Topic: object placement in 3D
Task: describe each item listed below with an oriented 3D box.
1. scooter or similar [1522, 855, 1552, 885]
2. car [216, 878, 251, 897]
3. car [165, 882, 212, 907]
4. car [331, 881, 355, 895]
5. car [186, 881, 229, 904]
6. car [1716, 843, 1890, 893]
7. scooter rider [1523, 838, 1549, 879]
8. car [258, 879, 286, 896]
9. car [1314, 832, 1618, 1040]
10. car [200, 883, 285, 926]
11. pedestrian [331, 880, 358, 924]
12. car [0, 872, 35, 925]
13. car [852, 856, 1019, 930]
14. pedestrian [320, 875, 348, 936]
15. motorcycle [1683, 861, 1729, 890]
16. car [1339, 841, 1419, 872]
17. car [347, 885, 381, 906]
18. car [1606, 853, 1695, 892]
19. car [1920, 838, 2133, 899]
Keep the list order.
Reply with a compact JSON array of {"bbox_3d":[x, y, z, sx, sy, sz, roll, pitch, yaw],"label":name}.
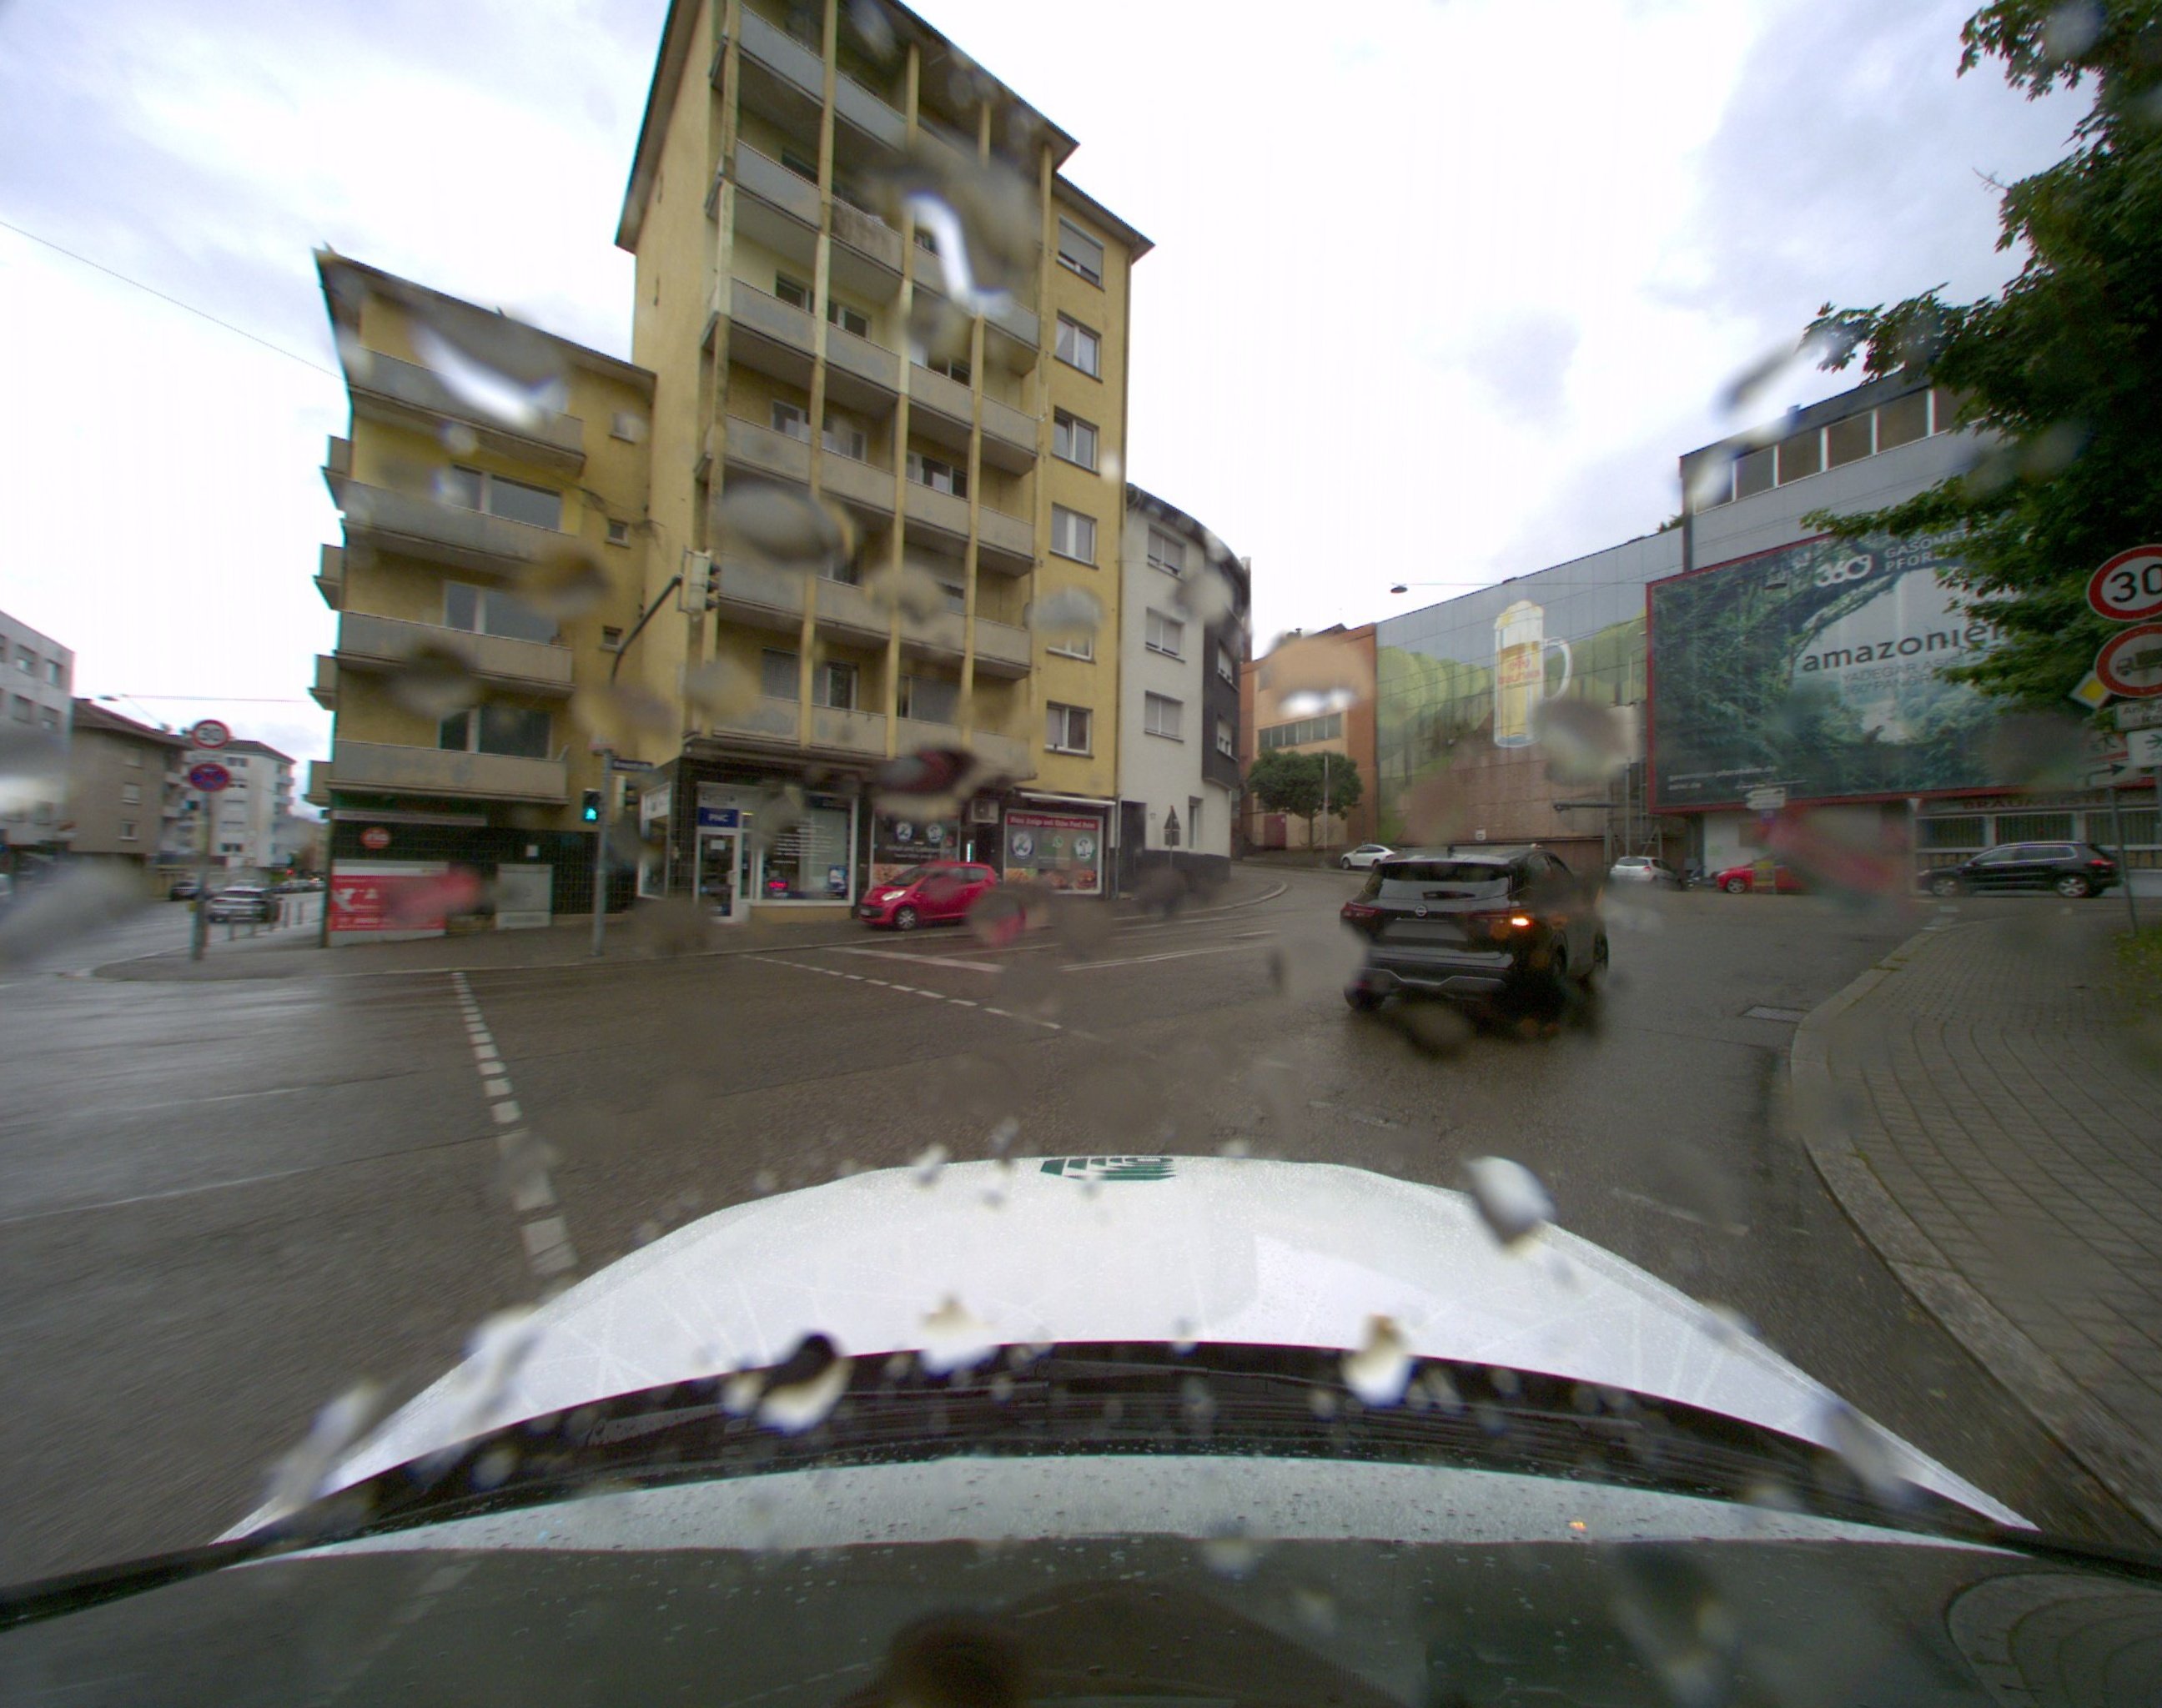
[{"bbox_3d":[20.499,0.710,36.654,0.796,1.323,1.414,-1,-1,14],"label":"scooter or similar"},{"bbox_3d":[-83.940,3.310,80.745,2.002,1.855,4.180,0,-2,-41],"label":"car"},{"bbox_3d":[-70.864,3.169,64.732,2.002,1.855,4.180,0,-2,-41],"label":"car"},{"bbox_3d":[-107.999,4.949,119.153,2.144,1.855,4.183,0,-2,-36],"label":"car"},{"bbox_3d":[-74.566,3.235,69.564,2.002,1.855,4.180,0,-2,-41],"label":"car"},{"bbox_3d":[26.632,0.513,30.206,1.938,1.711,4.449,1,-1,-29],"label":"car"},{"bbox_3d":[20.499,0.210,36.689,0.796,1.821,0.784,-1,-1,14],"label":"scooter rider"},{"bbox_3d":[-94.410,3.874,95.073,2.002,1.855,4.180,0,-2,-41],"label":"car"},{"bbox_3d":[4.113,0.645,8.342,1.863,1.594,3.945,0,-1,40],"label":"car"},{"bbox_3d":[-36.282,2.136,35.352,2.001,1.703,4.517,2,-3,-39],"label":"car"},{"bbox_3d":[-28.428,1.848,31.443,0.662,1.675,0.695,2,-3,-39],"label":"pedestrian"},{"bbox_3d":[-38.685,1.552,28.102,2.000,1.855,4.184,0,-2,-35],"label":"car"},{"bbox_3d":[-3.362,0.842,19.153,3.551,1.464,1.596,-1,2,-39],"label":"car"},{"bbox_3d":[-21.078,1.449,22.981,0.502,1.675,0.551,2,-3,-39],"label":"pedestrian"},{"bbox_3d":[25.588,0.865,33.355,0.454,1.161,1.406,3,-2,-42],"label":"motorcycle"},{"bbox_3d":[18.165,0.132,49.951,1.859,1.617,4.884,1,2,-20],"label":"car"},{"bbox_3d":[-61.919,3.557,70.367,2.001,1.703,4.517,2,-3,-39],"label":"car"},{"bbox_3d":[25.189,0.779,35.993,4.008,1.533,1.856,-1,1,-33],"label":"car"},{"bbox_3d":[29.097,0.470,25.196,1.938,1.712,3.962,0,-2,-29],"label":"car"}]
